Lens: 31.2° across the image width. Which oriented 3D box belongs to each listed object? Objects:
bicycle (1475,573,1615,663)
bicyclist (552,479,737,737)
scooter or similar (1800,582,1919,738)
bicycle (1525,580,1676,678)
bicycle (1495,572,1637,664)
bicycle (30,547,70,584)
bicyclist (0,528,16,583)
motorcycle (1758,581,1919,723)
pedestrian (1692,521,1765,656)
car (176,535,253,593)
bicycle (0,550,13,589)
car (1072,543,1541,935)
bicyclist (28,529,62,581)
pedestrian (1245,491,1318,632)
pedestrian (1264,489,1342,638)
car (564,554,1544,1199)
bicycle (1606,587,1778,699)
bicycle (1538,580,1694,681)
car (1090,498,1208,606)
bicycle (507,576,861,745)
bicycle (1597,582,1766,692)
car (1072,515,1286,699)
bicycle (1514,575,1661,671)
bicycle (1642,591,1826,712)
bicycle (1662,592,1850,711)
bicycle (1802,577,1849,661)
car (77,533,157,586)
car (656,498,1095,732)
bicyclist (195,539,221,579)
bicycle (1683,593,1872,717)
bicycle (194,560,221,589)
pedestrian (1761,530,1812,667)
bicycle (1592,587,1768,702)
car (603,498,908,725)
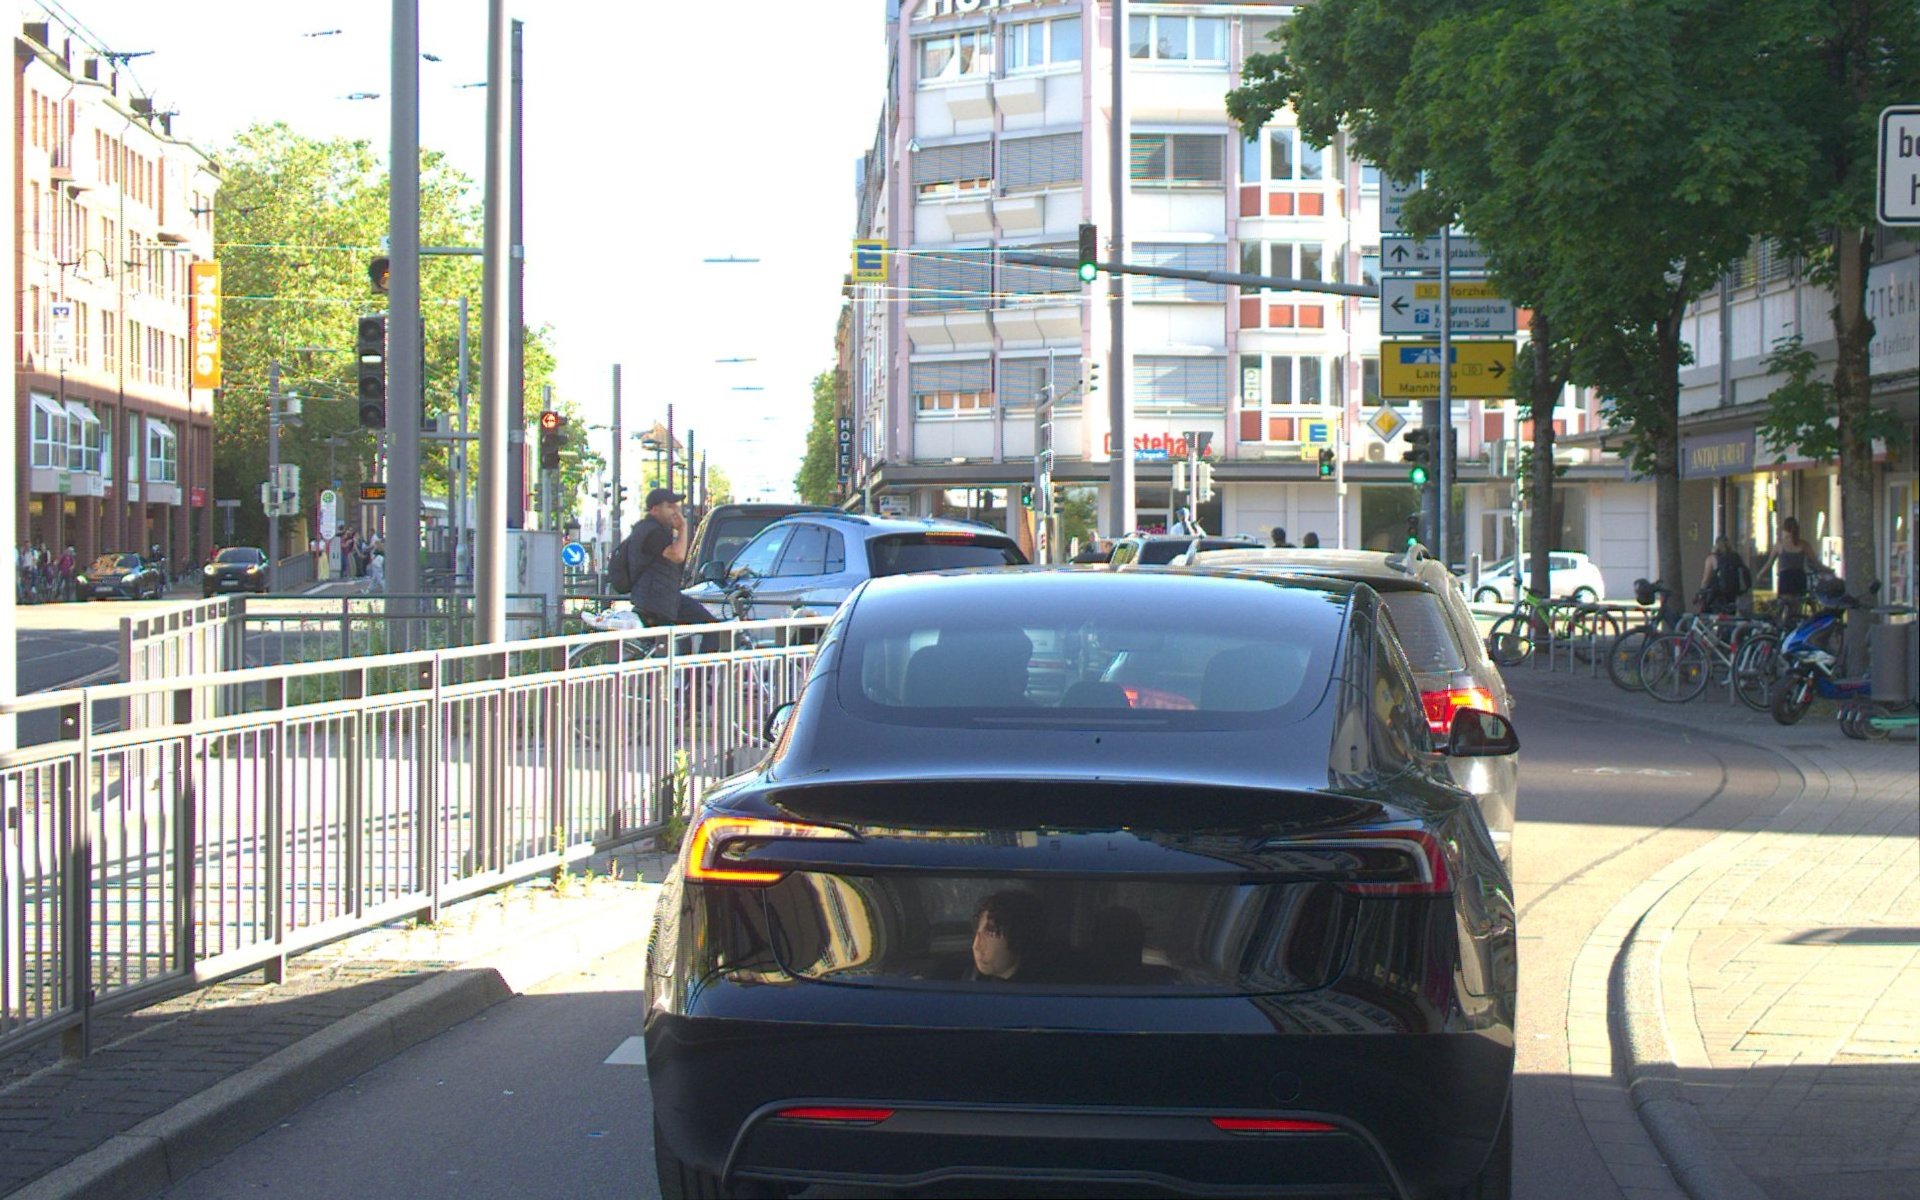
[{"bbox_3d":[7.229,0.220,42.498,1.650,1.095,0.350,1,0,1],"label":"bicycle"},{"bbox_3d":[-2.045,0.041,22.235,0.758,1.623,0.978,0,1,-39],"label":"bicyclist"},{"bbox_3d":[7.557,0.472,27.207,1.644,1.211,0.644,1,0,30],"label":"scooter or similar"},{"bbox_3d":[7.328,0.328,39.346,1.650,1.095,0.350,1,0,1],"label":"bicycle"},{"bbox_3d":[7.297,0.211,41.404,1.650,1.095,0.350,0,1,1],"label":"bicycle"},{"bbox_3d":[-27.306,-1.028,103.209,0.529,1.085,2.284,0,0,1],"label":"bicycle"},{"bbox_3d":[-27.317,-1.266,97.735,0.784,1.558,0.746,1,0,-2],"label":"bicyclist"},{"bbox_3d":[7.714,0.443,29.238,1.707,1.169,0.541,1,0,-2],"label":"motorcycle"},{"bbox_3d":[9.542,-0.143,42.703,0.699,1.656,0.777,1,0,-1],"label":"pedestrian"},{"bbox_3d":[-22.964,-1.104,105.982,1.697,1.725,3.707,1,1,-3],"label":"car"},{"bbox_3d":[-27.282,-0.867,97.149,0.537,1.085,2.225,1,1,-3],"label":"bicycle"},{"bbox_3d":[1.514,0.490,15.049,1.751,1.449,3.999,1,1,6],"label":"car"},{"bbox_3d":[-27.324,-1.351,102.659,0.784,1.558,0.746,0,1,2],"label":"bicyclist"},{"bbox_3d":[4.642,-0.558,49.668,0.921,2.007,0.972,1,0,-1],"label":"pedestrian"},{"bbox_3d":[4.680,-0.498,46.974,0.921,2.007,0.972,1,0,-1],"label":"pedestrian"},{"bbox_3d":[0.318,0.634,8.464,1.829,1.450,3.999,1,1,4],"label":"car"},{"bbox_3d":[7.276,0.426,34.182,1.649,1.095,0.350,1,0,-10],"label":"bicycle"},{"bbox_3d":[7.308,0.342,38.319,1.650,1.095,0.350,1,0,1],"label":"bicycle"},{"bbox_3d":[3.160,-0.801,58.040,1.719,1.745,3.754,1,1,-1],"label":"car"},{"bbox_3d":[-1.783,0.383,22.472,2.329,1.050,0.631,0,1,-38],"label":"bicycle"},{"bbox_3d":[7.417,0.378,35.366,1.650,1.095,0.350,1,0,1],"label":"bicycle"},{"bbox_3d":[2.198,0.051,35.413,1.598,1.772,3.981,1,1,-5],"label":"car"},{"bbox_3d":[7.360,0.268,40.359,1.650,1.095,0.350,1,0,1],"label":"bicycle"},{"bbox_3d":[7.180,0.476,31.891,1.649,1.095,0.350,1,0,-10],"label":"bicycle"},{"bbox_3d":[7.286,0.471,31.467,1.649,1.057,0.350,1,0,-10],"label":"bicycle"},{"bbox_3d":[10.761,0.228,42.755,0.332,1.030,1.256,1,0,4],"label":"bicycle"},{"bbox_3d":[-25.167,-1.197,102.700,1.710,1.521,4.037,1,1,-5],"label":"car"},{"bbox_3d":[-0.748,0.083,26.597,1.883,1.656,4.159,1,1,-25],"label":"car"},{"bbox_3d":[-29.353,-1.604,134.201,0.784,1.558,0.746,1,0,2],"label":"bicyclist"},{"bbox_3d":[7.382,0.495,31.046,1.649,1.095,0.350,1,0,-10],"label":"bicycle"},{"bbox_3d":[-29.384,-0.997,134.278,0.529,1.085,2.224,1,1,1],"label":"bicycle"},{"bbox_3d":[10.331,-0.022,42.968,0.526,1.704,0.403,1,0,3],"label":"pedestrian"},{"bbox_3d":[6.998,0.432,33.418,1.649,1.095,0.350,1,0,-10],"label":"bicycle"},{"bbox_3d":[-2.011,0.076,32.588,1.993,2.007,4.001,0,1,-17],"label":"car"}]
